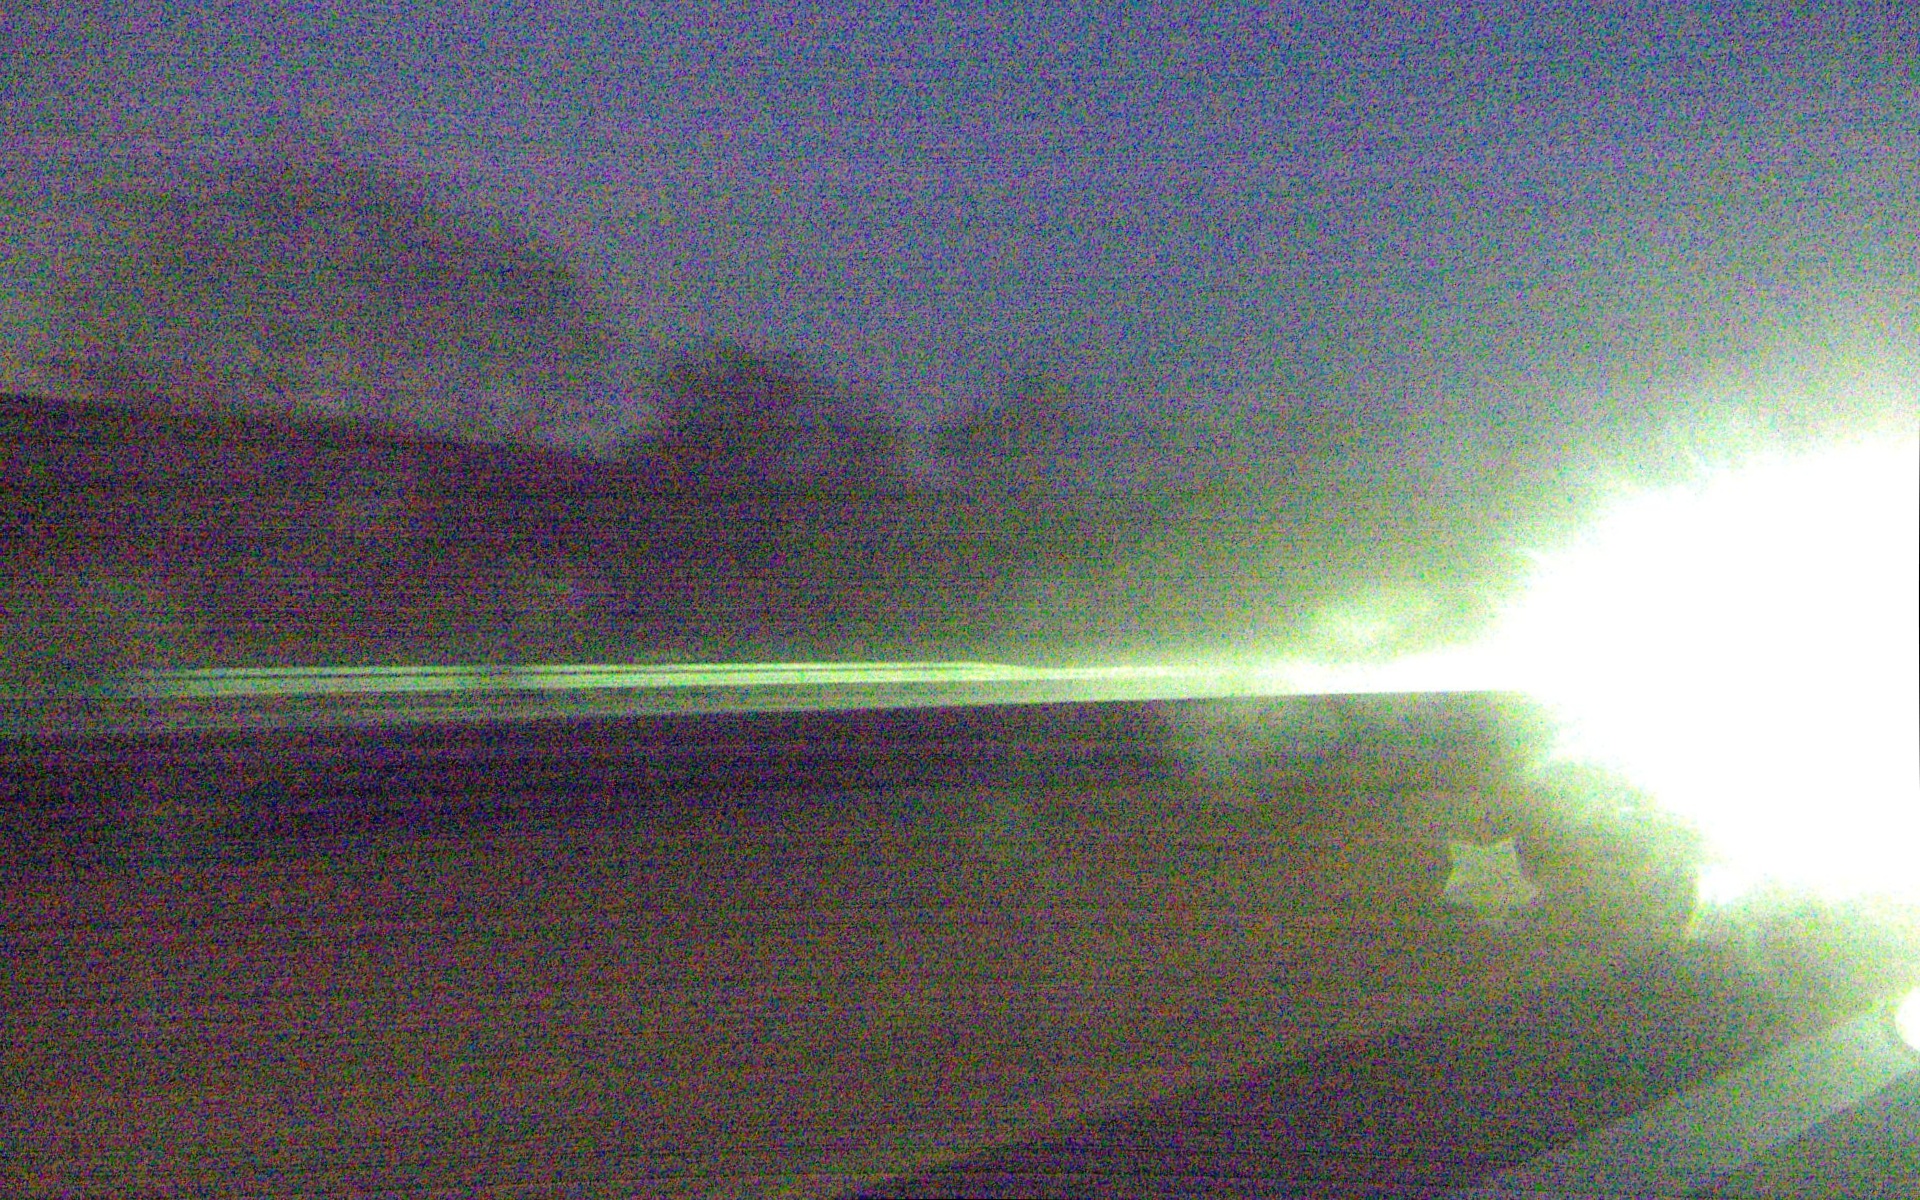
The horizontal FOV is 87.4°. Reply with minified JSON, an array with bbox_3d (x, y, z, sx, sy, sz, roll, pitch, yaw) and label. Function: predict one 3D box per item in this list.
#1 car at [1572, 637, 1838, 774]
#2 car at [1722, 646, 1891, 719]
[{"bbox_3d":[11.663,1.544,15.684,3.956,1.762,1.983,2,1,-32],"label":"car"},{"bbox_3d":[23.902,2.266,28.310,5.174,1.762,1.984,2,1,-30],"label":"car"}]
